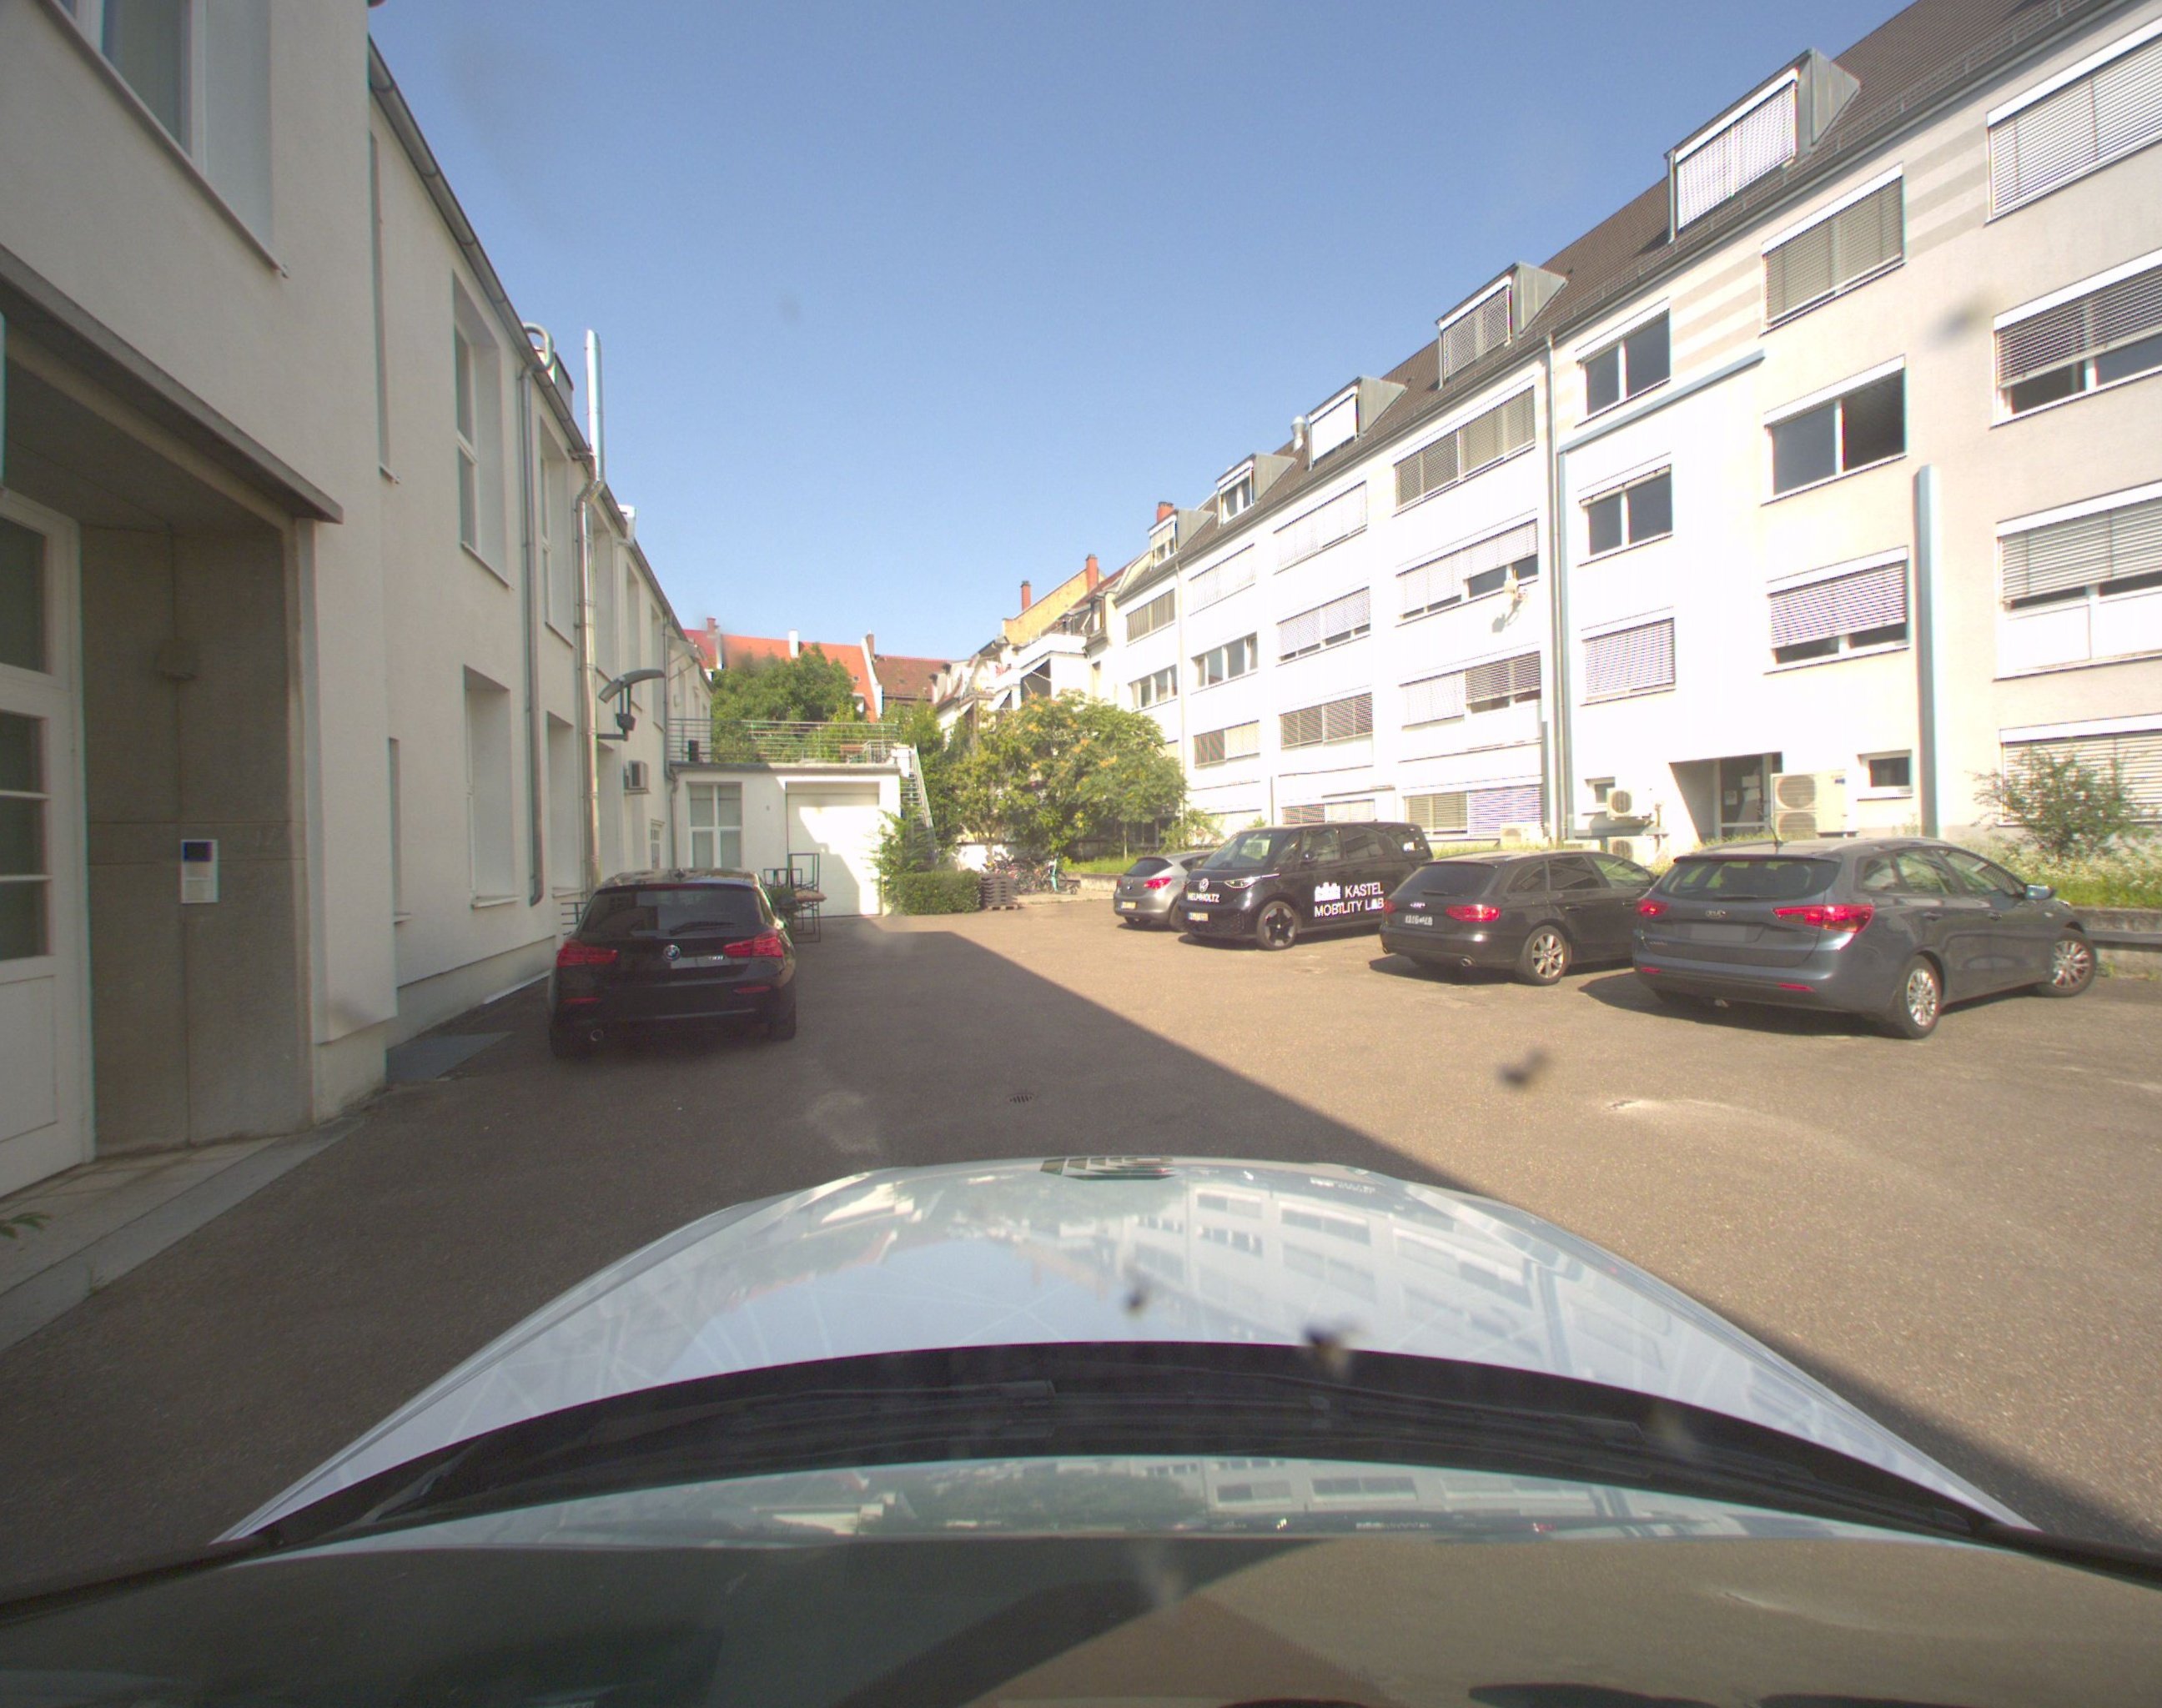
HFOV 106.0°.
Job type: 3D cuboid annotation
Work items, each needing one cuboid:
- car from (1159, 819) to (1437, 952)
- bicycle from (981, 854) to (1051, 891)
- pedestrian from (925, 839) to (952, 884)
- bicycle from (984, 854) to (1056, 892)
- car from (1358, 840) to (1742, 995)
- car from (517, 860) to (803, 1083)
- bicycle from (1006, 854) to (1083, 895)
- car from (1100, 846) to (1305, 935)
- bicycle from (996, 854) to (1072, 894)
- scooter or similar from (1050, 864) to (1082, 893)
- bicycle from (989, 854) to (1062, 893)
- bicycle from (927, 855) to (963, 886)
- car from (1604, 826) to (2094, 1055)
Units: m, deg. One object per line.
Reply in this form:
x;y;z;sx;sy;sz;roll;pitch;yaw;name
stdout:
3.644;0.401;13.545;4.361;1.858;1.897;-2;1;-29;car
-2.280;0.626;28.718;2.419;1.246;0.523;-1;0;-20;bicycle
-5.697;0.315;32.484;0.851;1.771;0.614;-1;0;19;pedestrian
-2.099;0.628;28.062;2.419;1.246;0.523;-1;0;-20;bicycle
5.596;0.622;9.712;4.249;1.437;1.678;-2;1;-22;car
-3.706;0.807;7.721;1.800;1.428;4.106;-1;0;-22;car
-1.163;0.651;26.163;2.419;1.246;0.523;-1;0;-20;bicycle
2.466;0.637;16.202;3.924;1.466;1.646;-2;1;-33;car
-1.532;0.629;26.739;2.419;1.246;0.523;-1;0;-20;bicycle
-0.485;0.782;26.033;0.986;0.924;0.362;-1;0;33;scooter or similar
-1.869;0.642;27.491;2.419;1.246;0.523;-1;0;-20;bicycle
-5.423;0.635;32.526;0.484;1.143;2.004;-2;1;19;bicycle
6.774;0.555;7.163;4.066;1.478;1.728;-2;1;-24;car
